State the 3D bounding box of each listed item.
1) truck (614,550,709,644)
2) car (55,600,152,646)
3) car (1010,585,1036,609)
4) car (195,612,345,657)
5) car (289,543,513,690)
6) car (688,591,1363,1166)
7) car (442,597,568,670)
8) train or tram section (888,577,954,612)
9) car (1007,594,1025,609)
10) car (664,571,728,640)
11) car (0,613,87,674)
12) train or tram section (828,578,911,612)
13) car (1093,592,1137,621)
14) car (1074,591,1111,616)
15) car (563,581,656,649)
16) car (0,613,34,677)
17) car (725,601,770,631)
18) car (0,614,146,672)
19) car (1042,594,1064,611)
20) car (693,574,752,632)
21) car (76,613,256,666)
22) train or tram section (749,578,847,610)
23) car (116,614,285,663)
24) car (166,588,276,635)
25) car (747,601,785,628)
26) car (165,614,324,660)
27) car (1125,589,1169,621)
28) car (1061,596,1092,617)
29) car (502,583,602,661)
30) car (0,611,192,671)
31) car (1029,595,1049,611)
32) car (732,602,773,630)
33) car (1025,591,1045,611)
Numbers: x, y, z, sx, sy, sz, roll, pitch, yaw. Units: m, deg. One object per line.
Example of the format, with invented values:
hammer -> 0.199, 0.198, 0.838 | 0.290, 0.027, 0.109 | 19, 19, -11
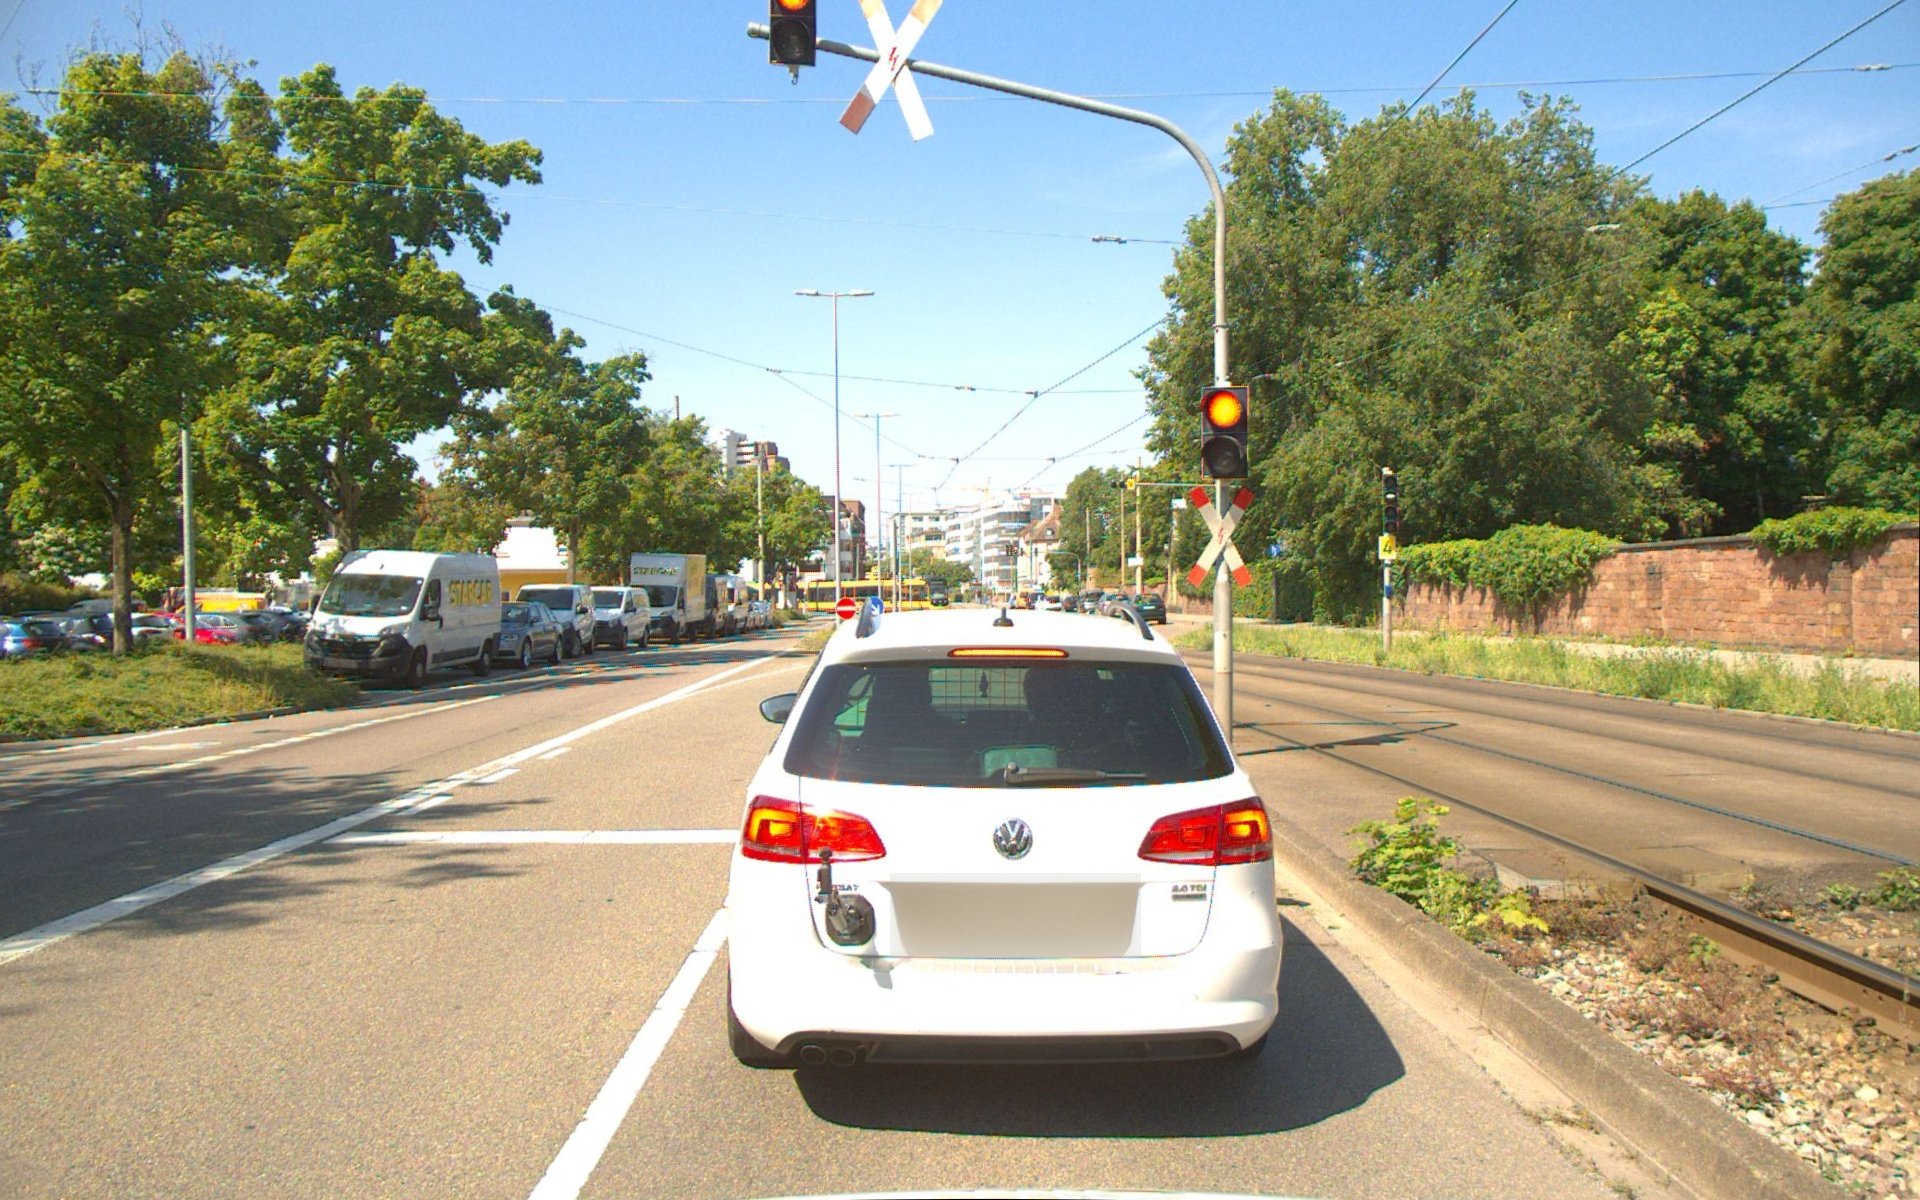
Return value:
truck -> -10.766, -0.120, 60.230 | 2.309, 3.177, 6.889 | -1, 0, -2
car -> -36.956, 0.979, 71.411 | 3.354, 1.909, 1.552 | -1, 0, -3
car -> 6.759, -0.299, 178.780 | 2.413, 2.542, 5.908 | 1, -1, -1
car -> -21.450, 1.060, 51.516 | 3.904, 1.246, 1.772 | -1, 0, 2
car -> -10.755, 0.270, 32.421 | 2.016, 2.544, 6.309 | 2, 0, 2
car -> 0.122, 0.718, 6.252 | 1.732, 1.471, 3.912 | 1, 0, -2
car -> -10.545, 0.733, 38.621 | 1.806, 1.543, 4.196 | -1, 0, -1
train or tram section -> -3.894, -0.514, 161.751 | 2.271, 3.309, 11.188 | 1, -1, -24
car -> 6.571, 0.163, 193.744 | 1.953, 1.624, 3.999 | 1, -1, 0
car -> -10.793, 0.199, 67.992 | 1.806, 2.715, 5.003 | -1, 0, 0
car -> -21.276, 0.962, 35.707 | 3.904, 1.246, 1.772 | -1, 0, 2
train or tram section -> -9.375, -0.554, 170.230 | 2.290, 3.309, 10.638 | 2, -1, -43
car -> 8.356, 0.335, 89.424 | 1.823, 1.441, 4.323 | 1, 0, -2
car -> 8.205, 0.198, 102.958 | 1.823, 1.539, 3.911 | 1, 0, -2
car -> -10.914, 0.442, 51.860 | 1.806, 1.995, 5.133 | -1, 0, 0
car -> -20.957, 0.943, 33.010 | 3.907, 1.246, 1.770 | -1, 0, -3
car -> -10.923, 0.797, 85.325 | 1.806, 1.458, 4.037 | -1, 0, -1
car -> -21.586, 1.010, 38.973 | 3.904, 1.246, 1.772 | -1, 0, 2
car -> 7.598, 0.191, 135.436 | 1.549, 1.370, 3.453 | 1, -1, -1
car -> -10.832, 0.112, 75.823 | 1.806, 2.538, 5.856 | -1, 0, 0
car -> -21.097, 1.035, 44.033 | 3.904, 1.286, 1.772 | -1, 0, 2
train or tram section -> -17.297, -0.663, 176.353 | 10.770, 3.310, 2.306 | 1, -1, 27
car -> -21.355, 1.069, 46.587 | 3.904, 1.246, 1.772 | -1, 0, 2
car -> -34.149, 0.530, 76.545 | 4.175, 2.049, 1.997 | 1, -1, -7
car -> -11.309, 0.812, 96.461 | 1.744, 1.458, 4.037 | -1, 0, -1
car -> -21.257, 1.095, 49.229 | 3.904, 1.246, 1.772 | -1, 0, 2
car -> 8.440, 0.203, 74.900 | 1.709, 1.412, 3.914 | 1, 0, 2
car -> 8.156, 0.449, 116.166 | 1.711, 1.432, 3.911 | 1, 0, -2
car -> -11.037, 0.547, 45.071 | 1.807, 1.971, 5.189 | -1, 0, -5
car -> -21.688, 1.021, 41.569 | 3.904, 1.373, 1.772 | -1, 0, 2
car -> 7.081, 0.286, 148.310 | 1.549, 1.370, 3.453 | 1, -1, -1
car -> -11.406, 0.853, 91.129 | 1.806, 1.458, 4.037 | -1, 0, -1
car -> 7.176, 0.079, 158.863 | 1.657, 1.844, 3.453 | 1, -1, -1
